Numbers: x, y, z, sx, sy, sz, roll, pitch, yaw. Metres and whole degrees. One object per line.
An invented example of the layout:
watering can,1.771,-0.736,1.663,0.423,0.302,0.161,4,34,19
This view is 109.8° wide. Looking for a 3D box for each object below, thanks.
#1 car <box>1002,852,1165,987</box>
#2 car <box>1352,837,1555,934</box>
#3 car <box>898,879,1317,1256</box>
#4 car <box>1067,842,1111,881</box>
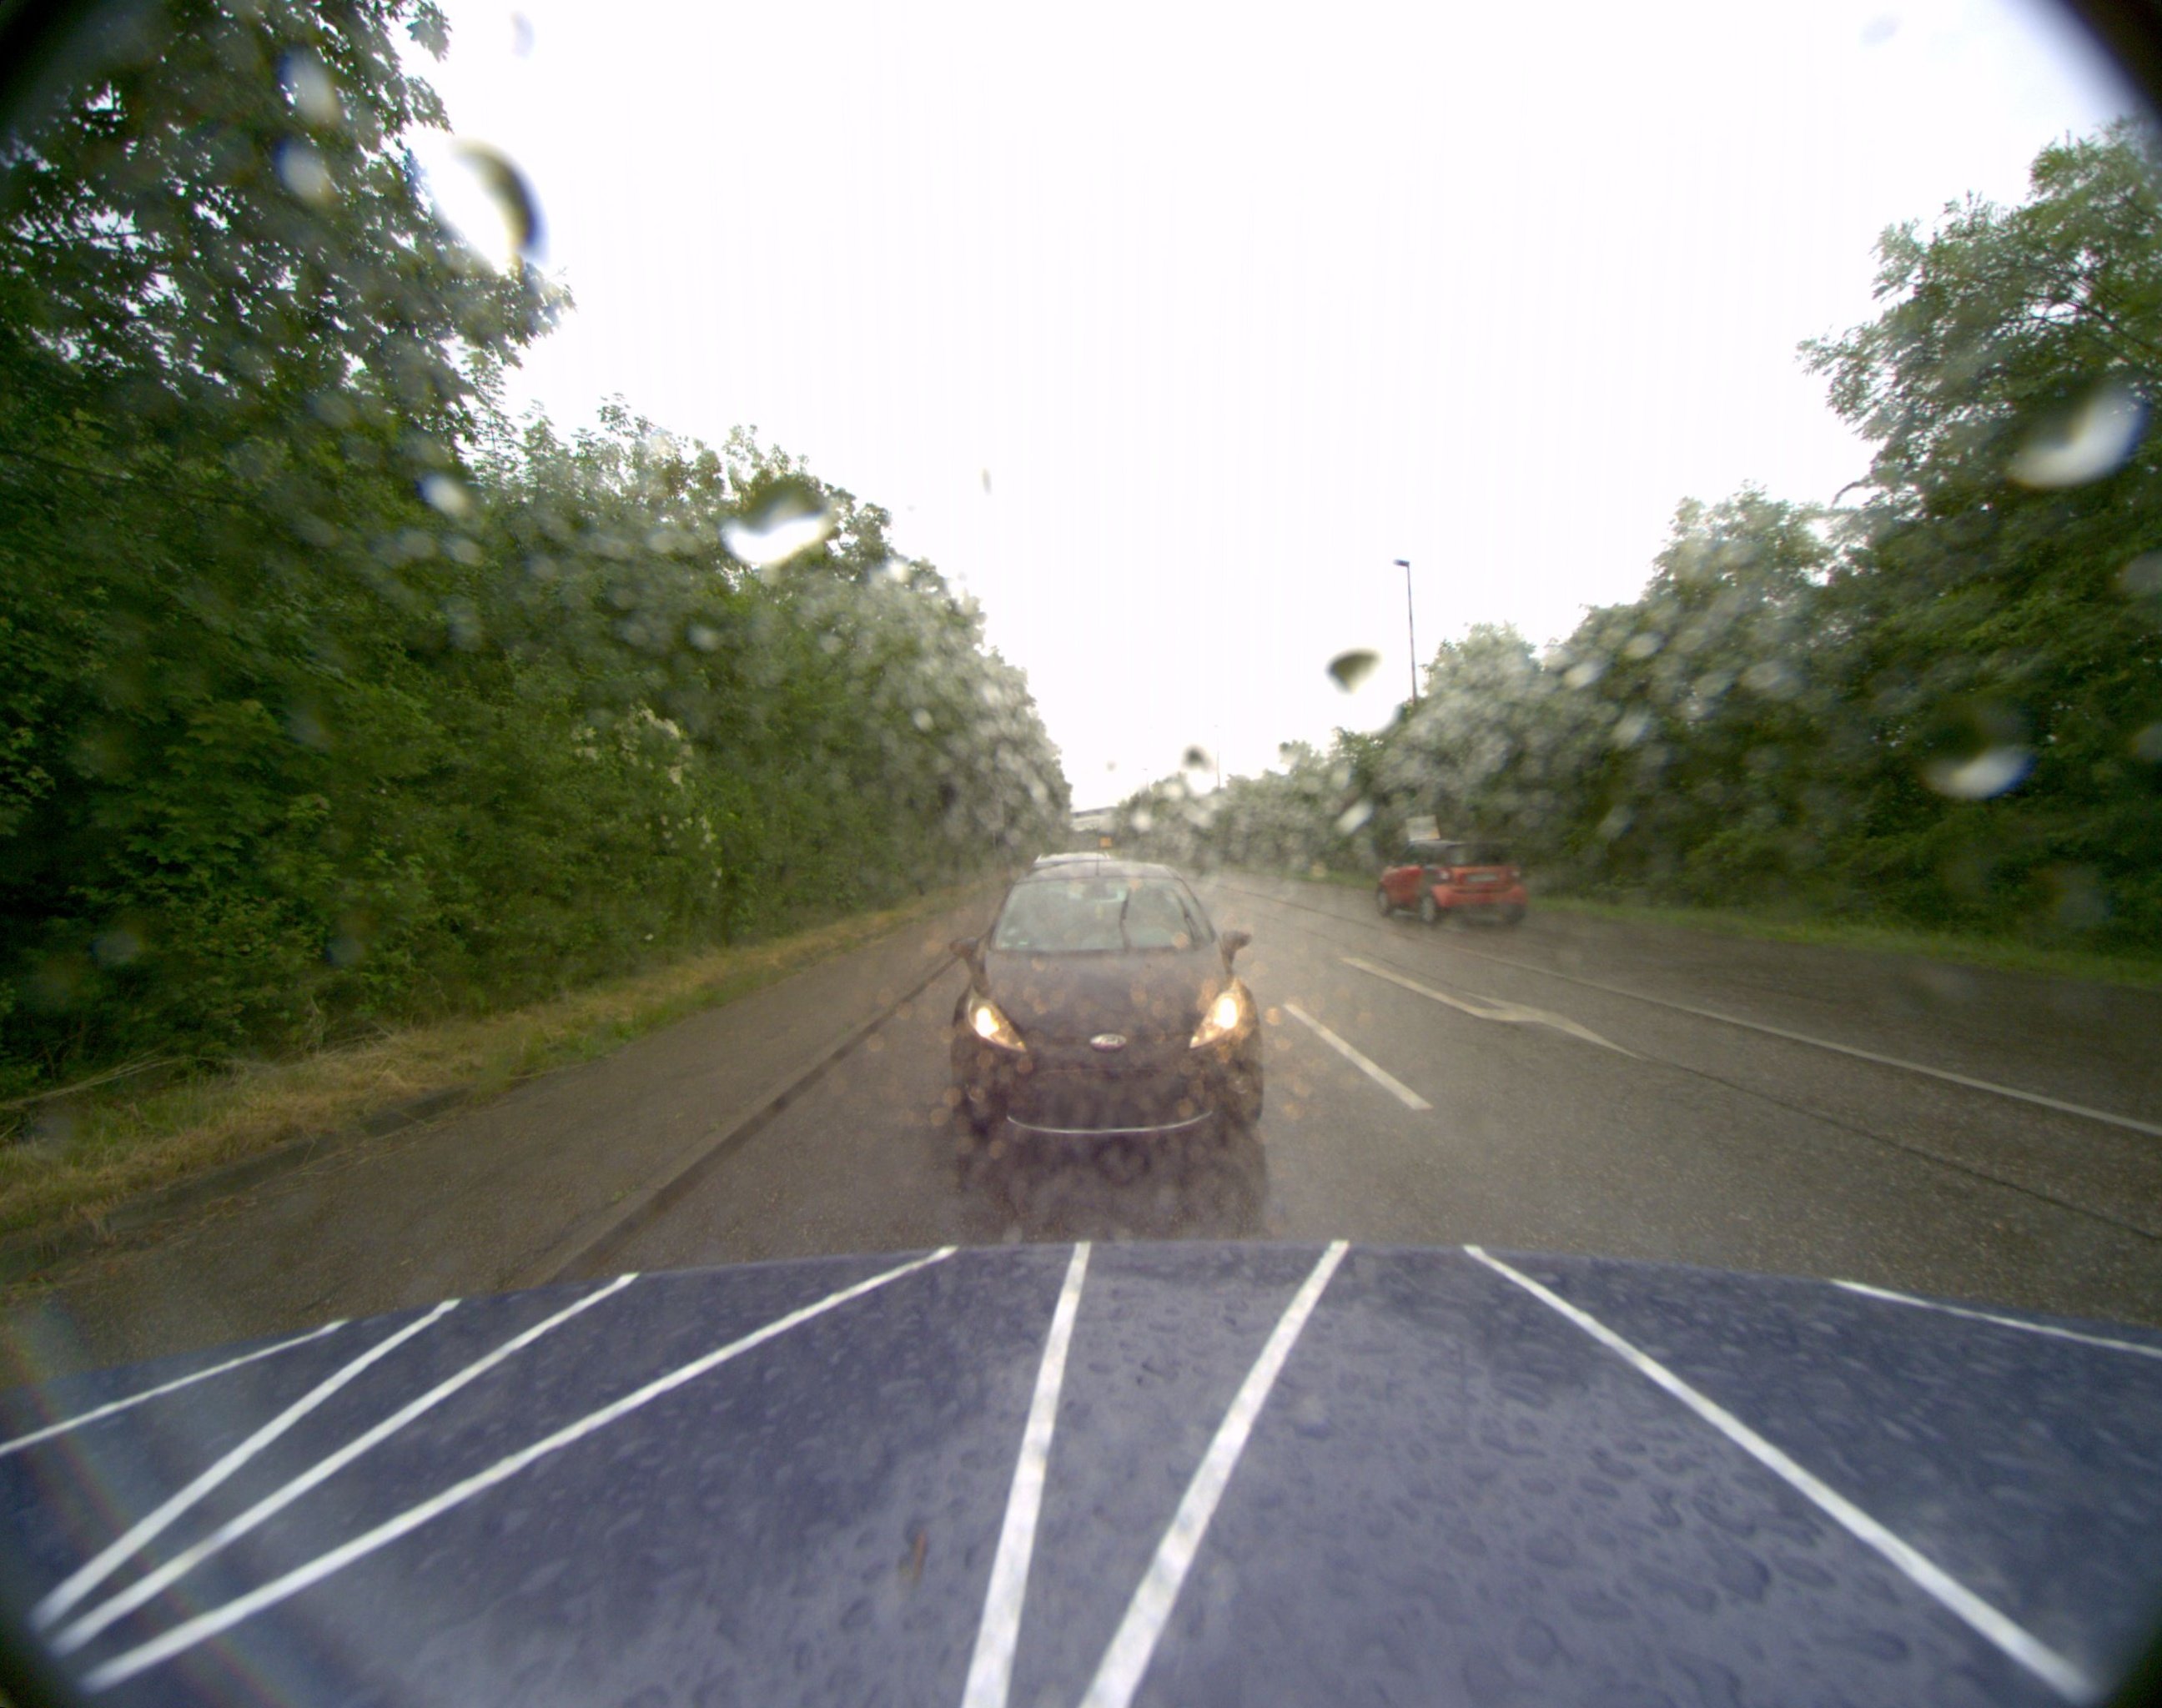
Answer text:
car,0.056,0.824,11.590,1.998,1.576,3.999,-2,1,1
car,6.979,0.487,14.767,1.998,1.576,3.999,-2,1,1
car,0.148,1.040,5.580,1.839,1.404,4.341,-2,1,1
car,0.400,0.367,38.306,1.998,1.778,4.000,-2,0,0
